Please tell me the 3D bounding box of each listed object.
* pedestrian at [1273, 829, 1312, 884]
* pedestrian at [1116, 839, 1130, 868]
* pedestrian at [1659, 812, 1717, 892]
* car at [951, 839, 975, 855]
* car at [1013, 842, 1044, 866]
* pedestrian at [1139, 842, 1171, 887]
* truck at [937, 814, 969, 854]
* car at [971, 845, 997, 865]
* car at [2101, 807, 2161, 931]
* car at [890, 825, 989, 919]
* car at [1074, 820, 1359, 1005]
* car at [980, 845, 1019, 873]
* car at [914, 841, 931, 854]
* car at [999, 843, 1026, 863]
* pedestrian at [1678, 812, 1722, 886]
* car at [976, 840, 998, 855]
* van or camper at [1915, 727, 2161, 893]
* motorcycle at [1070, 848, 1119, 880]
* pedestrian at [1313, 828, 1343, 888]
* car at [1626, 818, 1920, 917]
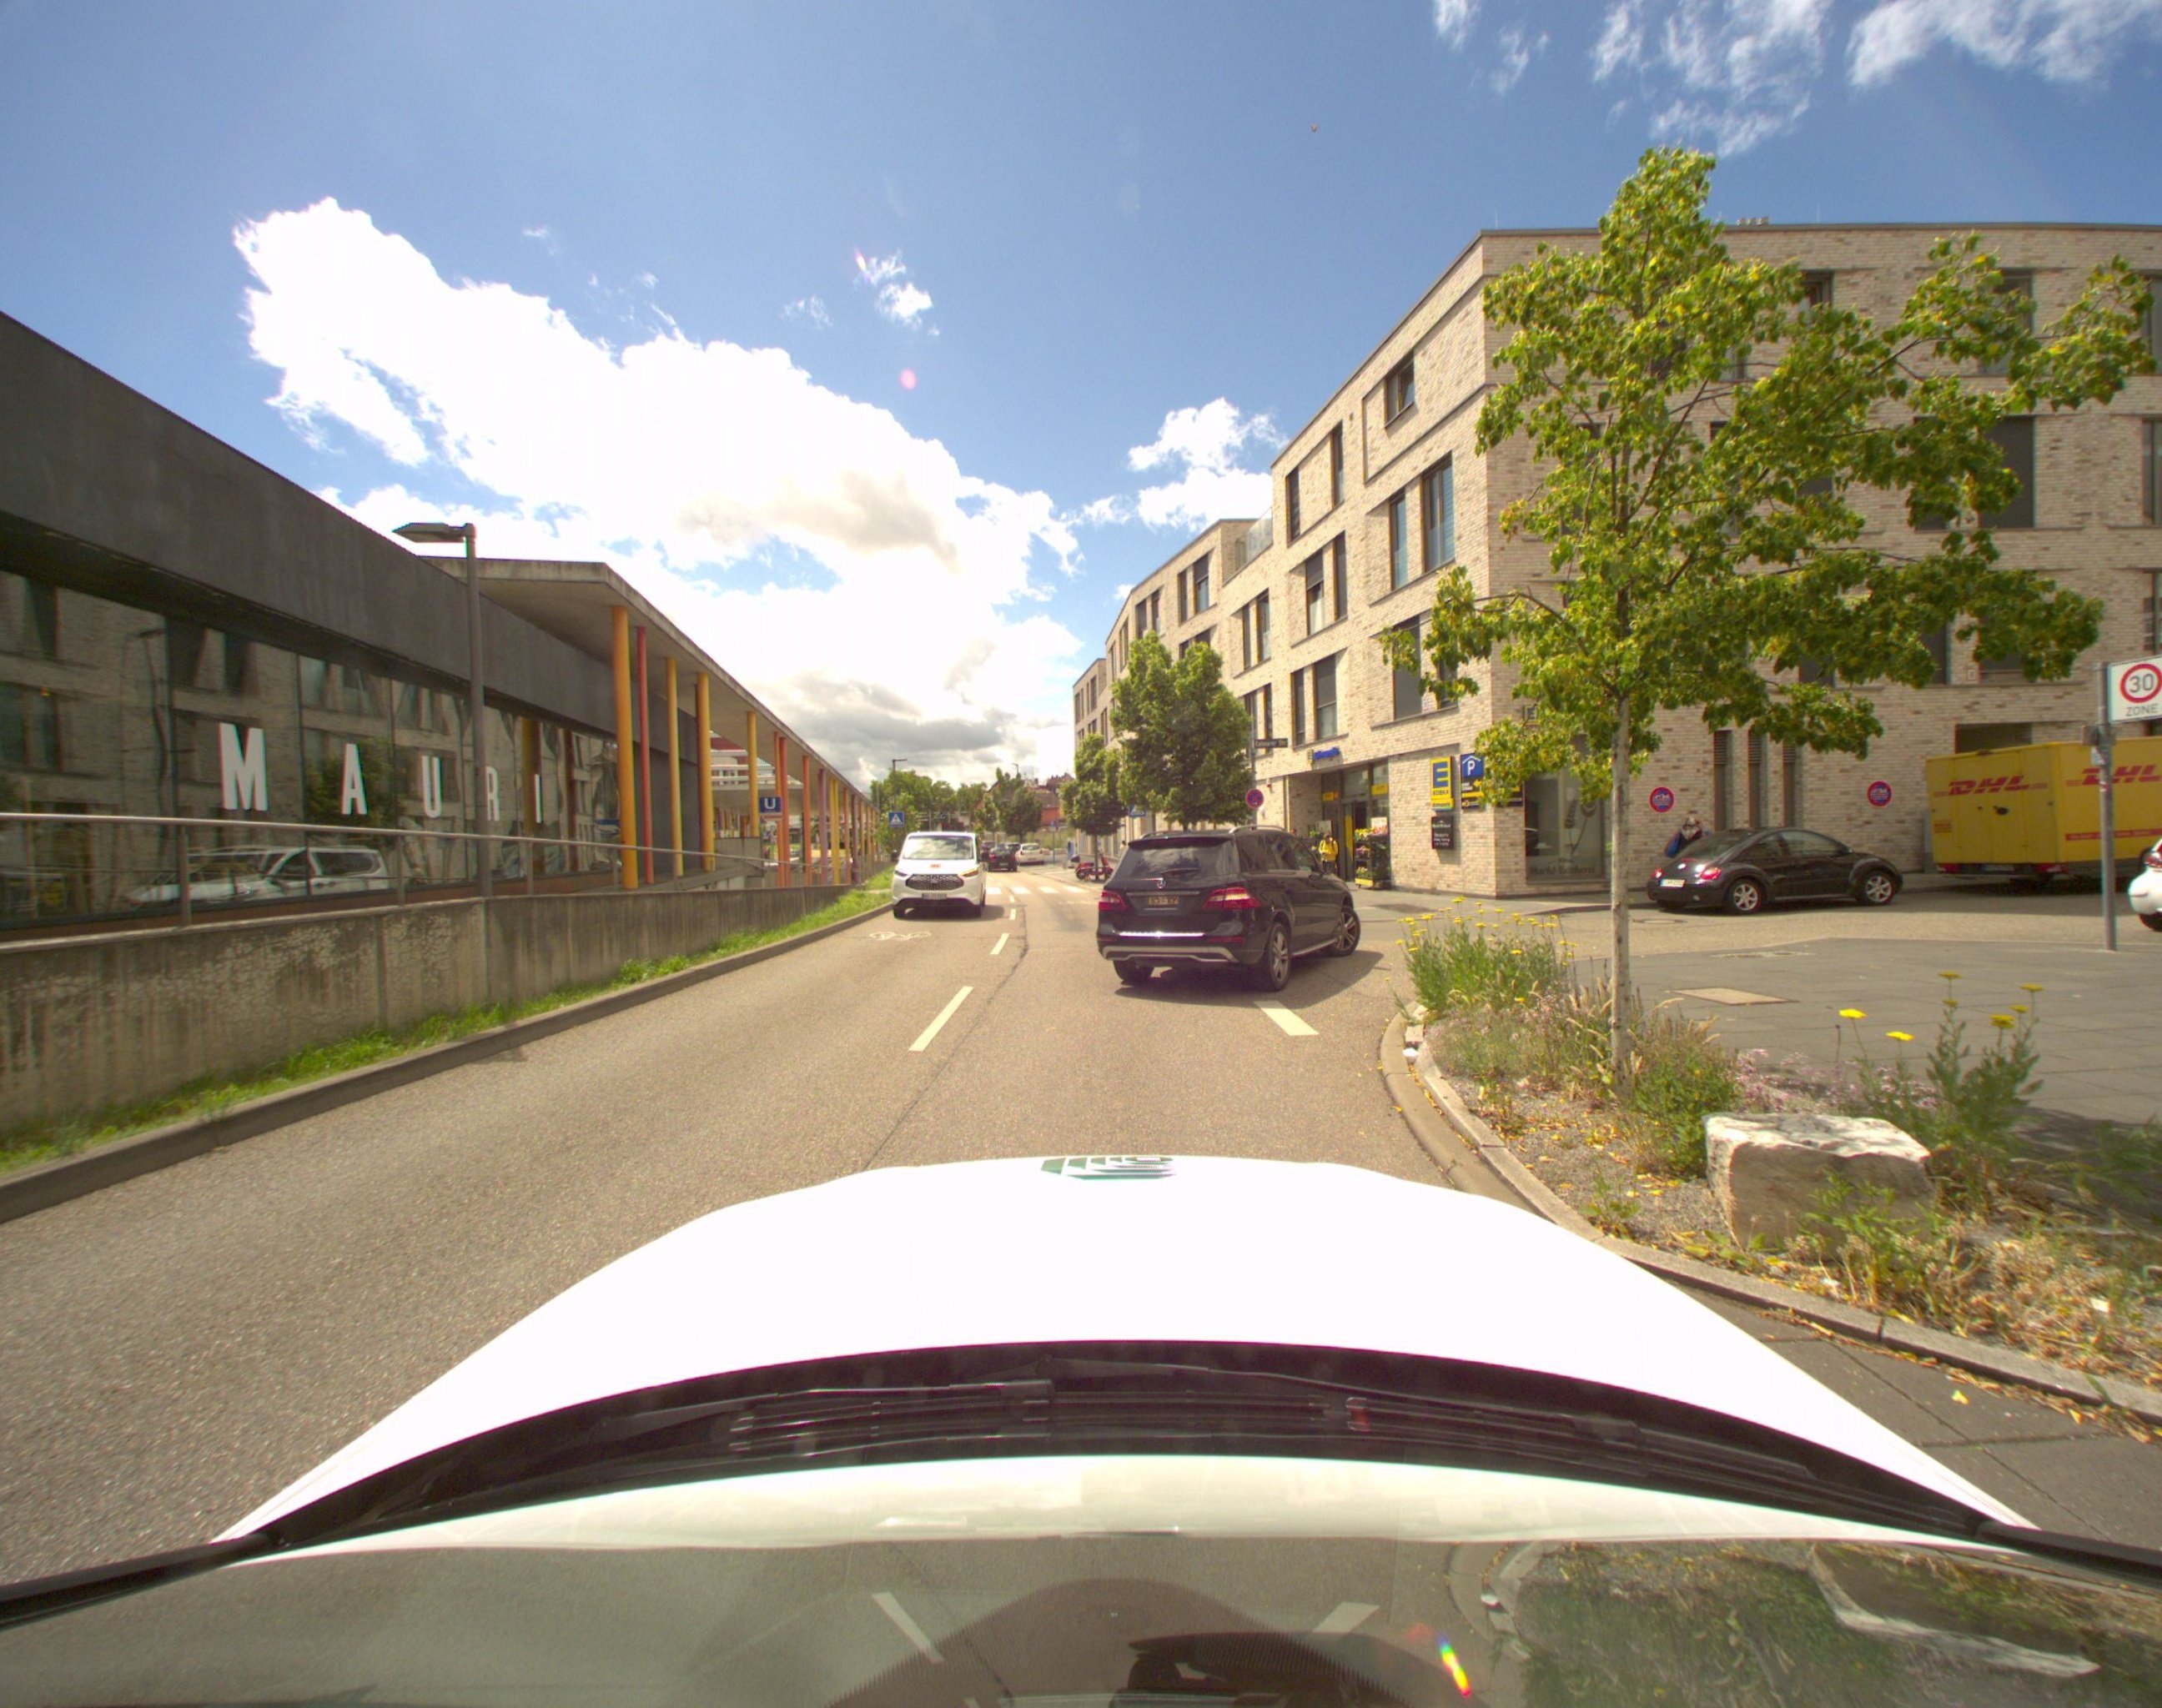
[{"bbox_3d":[6.955,0.071,26.782,1.016,1.741,0.656,-2,1,-15],"label":"pedestrian"},{"bbox_3d":[2.271,-0.040,43.757,0.606,1.472,0.790,-3,2,-4],"label":"pedestrian"},{"bbox_3d":[12.912,-0.035,17.339,0.557,1.671,0.808,0,-1,-32],"label":"pedestrian"},{"bbox_3d":[-11.537,-0.709,79.712,1.890,1.465,4.050,-3,1,-14],"label":"car"},{"bbox_3d":[-3.636,-0.046,56.417,1.693,1.483,3.785,-3,2,-10],"label":"car"},{"bbox_3d":[2.662,0.377,29.424,0.928,1.565,0.811,0,-1,-14],"label":"pedestrian"},{"bbox_3d":[-15.267,-2.290,96.600,3.205,4.535,8.992,-1,0,-12],"label":"truck"},{"bbox_3d":[-7.513,0.043,62.756,1.712,1.393,3.795,-3,2,-11],"label":"car"},{"bbox_3d":[14.710,0.101,9.532,3.370,1.477,1.718,-3,1,0],"label":"car"},{"bbox_3d":[-3.316,0.362,20.069,1.991,2.013,5.384,0,0,-6],"label":"car"},{"bbox_3d":[1.962,0.514,10.208,1.974,1.746,4.561,-3,1,30],"label":"car"},{"bbox_3d":[-4.842,0.264,48.208,1.729,1.456,3.791,-3,2,-14],"label":"car"},{"bbox_3d":[-17.601,-0.746,90.458,1.812,1.469,3.894,-1,1,-11],"label":"car"},{"bbox_3d":[-5.550,-0.138,65.540,1.693,1.461,4.133,-3,2,-10],"label":"car"},{"bbox_3d":[13.444,-0.093,17.695,0.524,1.573,0.597,0,-1,-32],"label":"pedestrian"},{"bbox_3d":[-9.969,-0.695,86.391,1.784,1.451,4.456,-4,2,-13],"label":"car"},{"bbox_3d":[20.163,-0.908,15.210,6.836,2.736,2.275,-4,-1,-2],"label":"van or camper"},{"bbox_3d":[0.598,0.449,35.984,2.040,1.266,0.674,-4,0,6],"label":"motorcycle"},{"bbox_3d":[7.076,0.119,23.324,0.651,1.692,0.635,-2,1,29],"label":"pedestrian"},{"bbox_3d":[12.451,0.212,14.819,3.884,1.477,1.782,-3,1,-3],"label":"car"}]
